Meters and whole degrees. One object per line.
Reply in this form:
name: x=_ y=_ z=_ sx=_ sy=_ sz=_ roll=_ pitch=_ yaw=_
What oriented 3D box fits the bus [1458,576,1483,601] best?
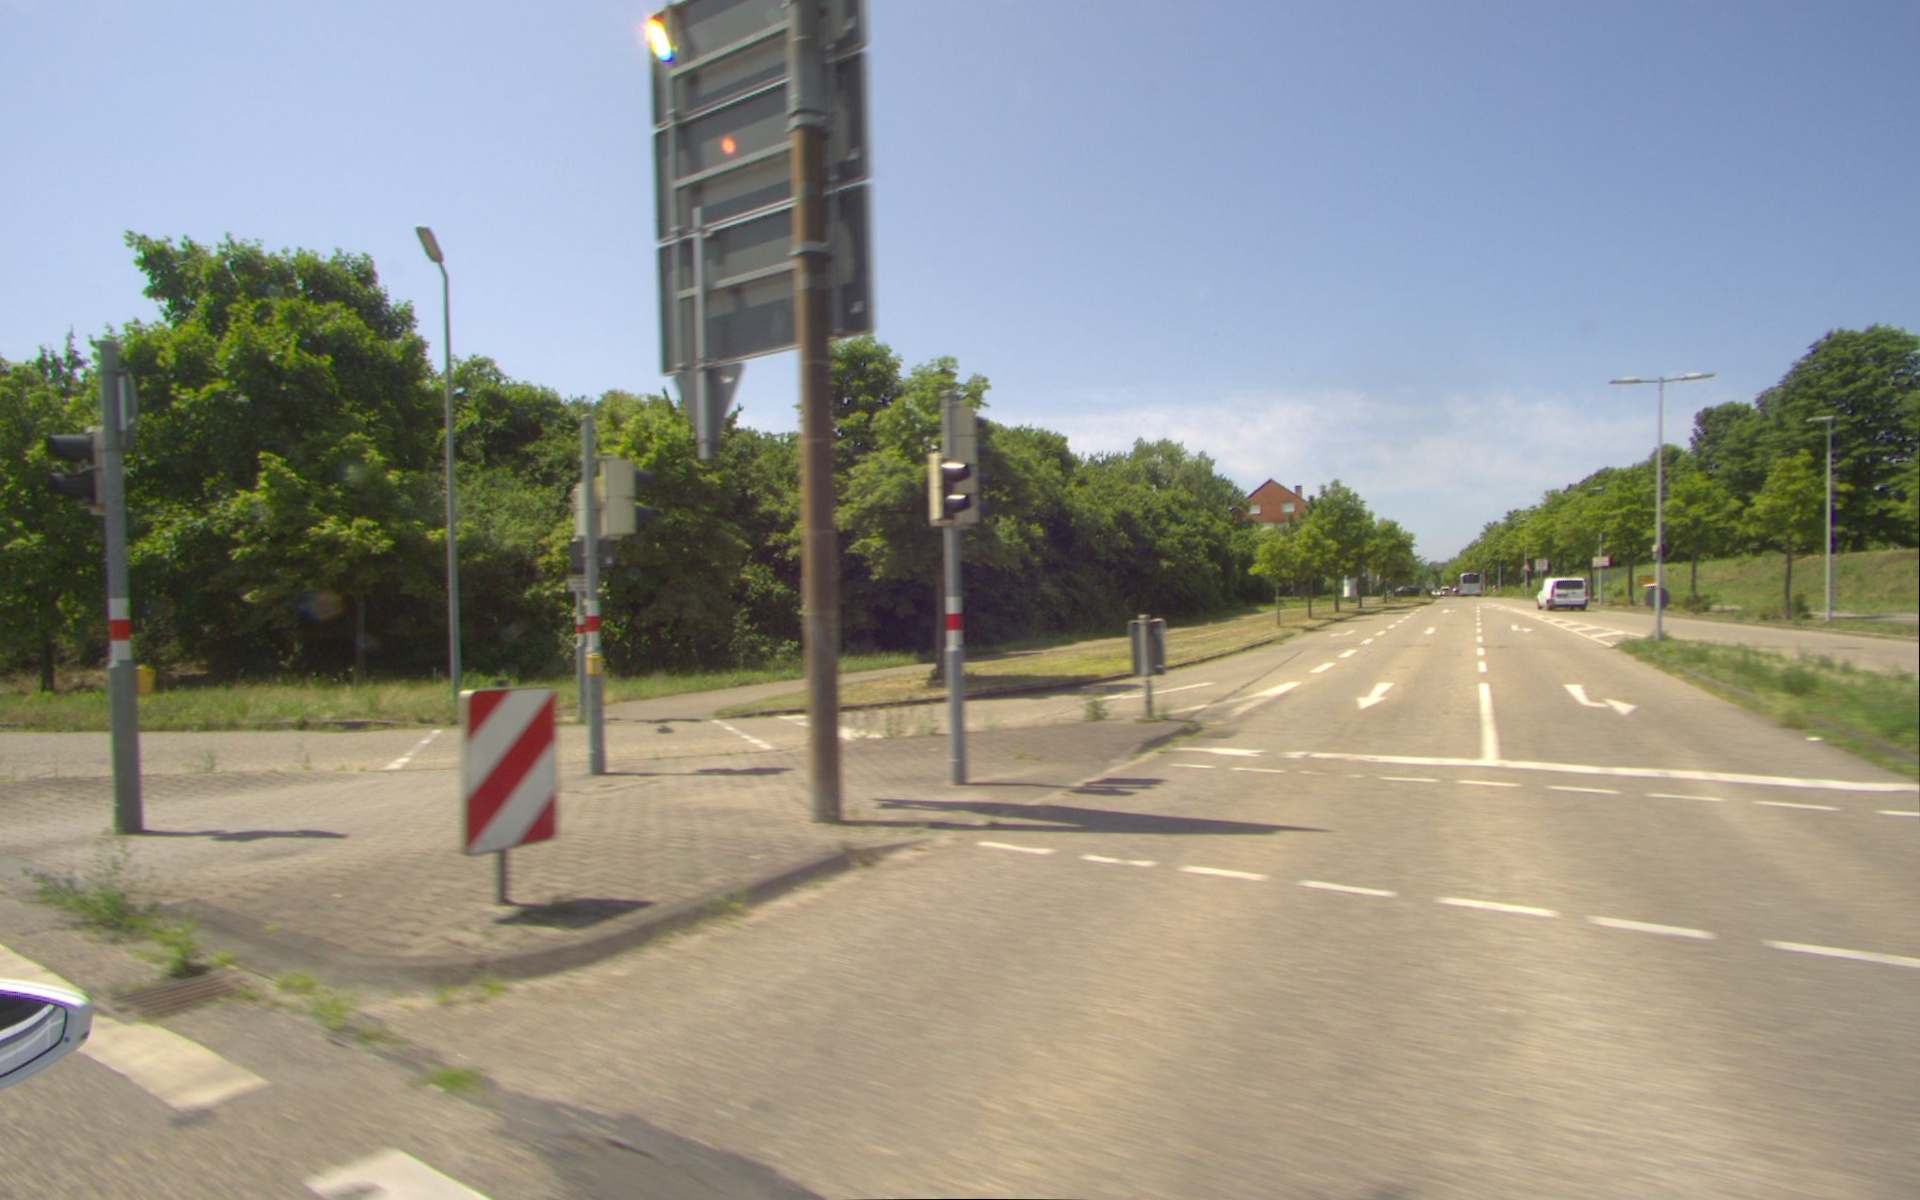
bus: x=68.043 y=-1.471 z=133.578 sx=2.589 sy=3.127 sz=12.040 roll=-1 pitch=-1 yaw=25

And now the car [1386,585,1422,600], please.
car: x=52.309 y=-0.909 z=118.026 sx=3.772 sy=1.571 sz=1.656 roll=-2 pitch=-3 yaw=31

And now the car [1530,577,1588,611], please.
car: x=34.124 y=-0.362 z=57.168 sx=1.833 sy=1.843 sz=4.897 roll=0 pitch=1 yaw=19
